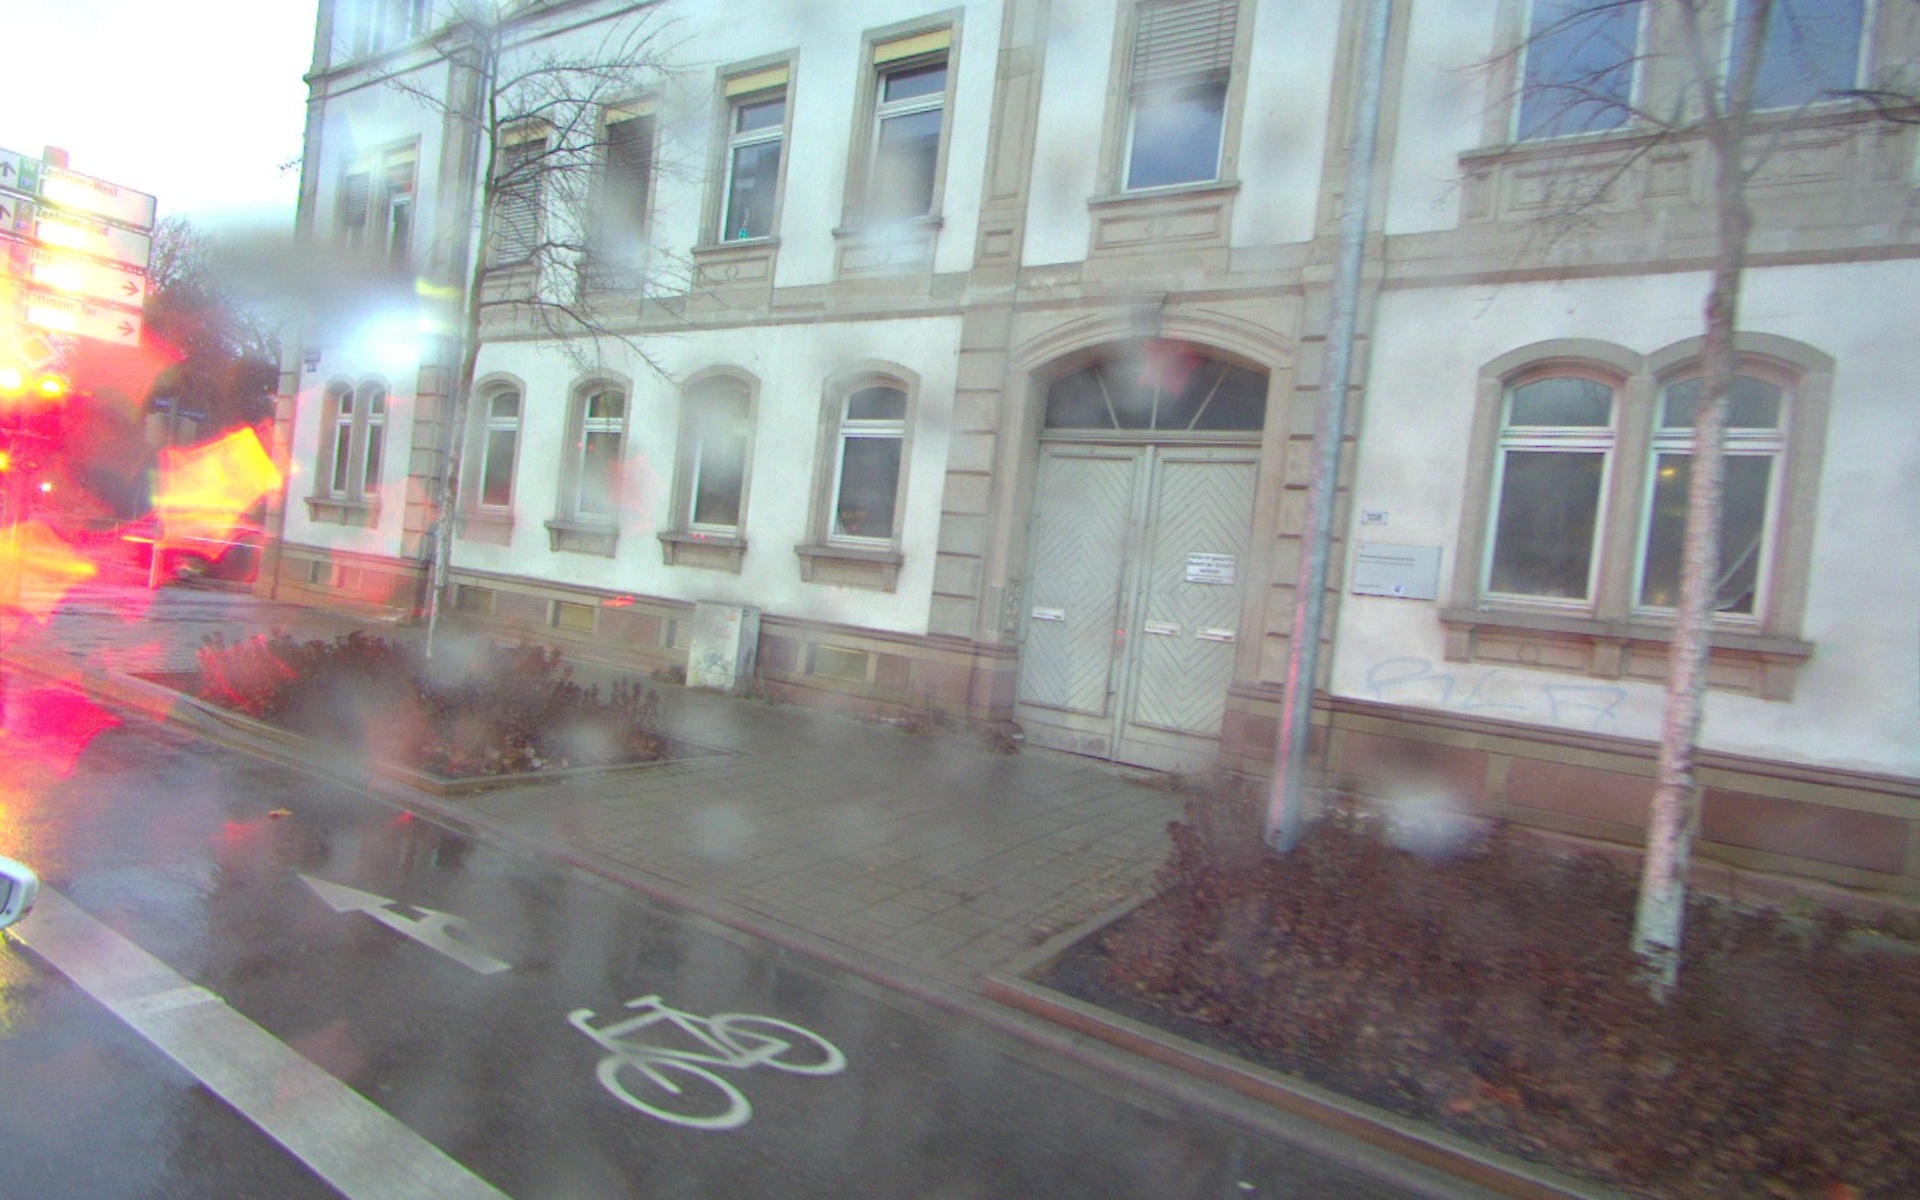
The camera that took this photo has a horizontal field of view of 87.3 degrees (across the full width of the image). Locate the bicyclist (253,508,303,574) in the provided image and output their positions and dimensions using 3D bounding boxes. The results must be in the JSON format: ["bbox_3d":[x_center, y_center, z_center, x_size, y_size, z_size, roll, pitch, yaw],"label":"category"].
[{"bbox_3d":[-20.239,-1.747,29.860,0.969,1.779,0.804,8,-2,-41],"label":"bicyclist"}]

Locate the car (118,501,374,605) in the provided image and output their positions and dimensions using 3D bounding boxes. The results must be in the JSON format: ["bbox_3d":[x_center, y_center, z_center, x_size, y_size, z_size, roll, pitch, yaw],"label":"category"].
[{"bbox_3d":[-16.800,-1.051,23.861,4.674,1.740,1.849,8,-2,-39],"label":"car"}]
